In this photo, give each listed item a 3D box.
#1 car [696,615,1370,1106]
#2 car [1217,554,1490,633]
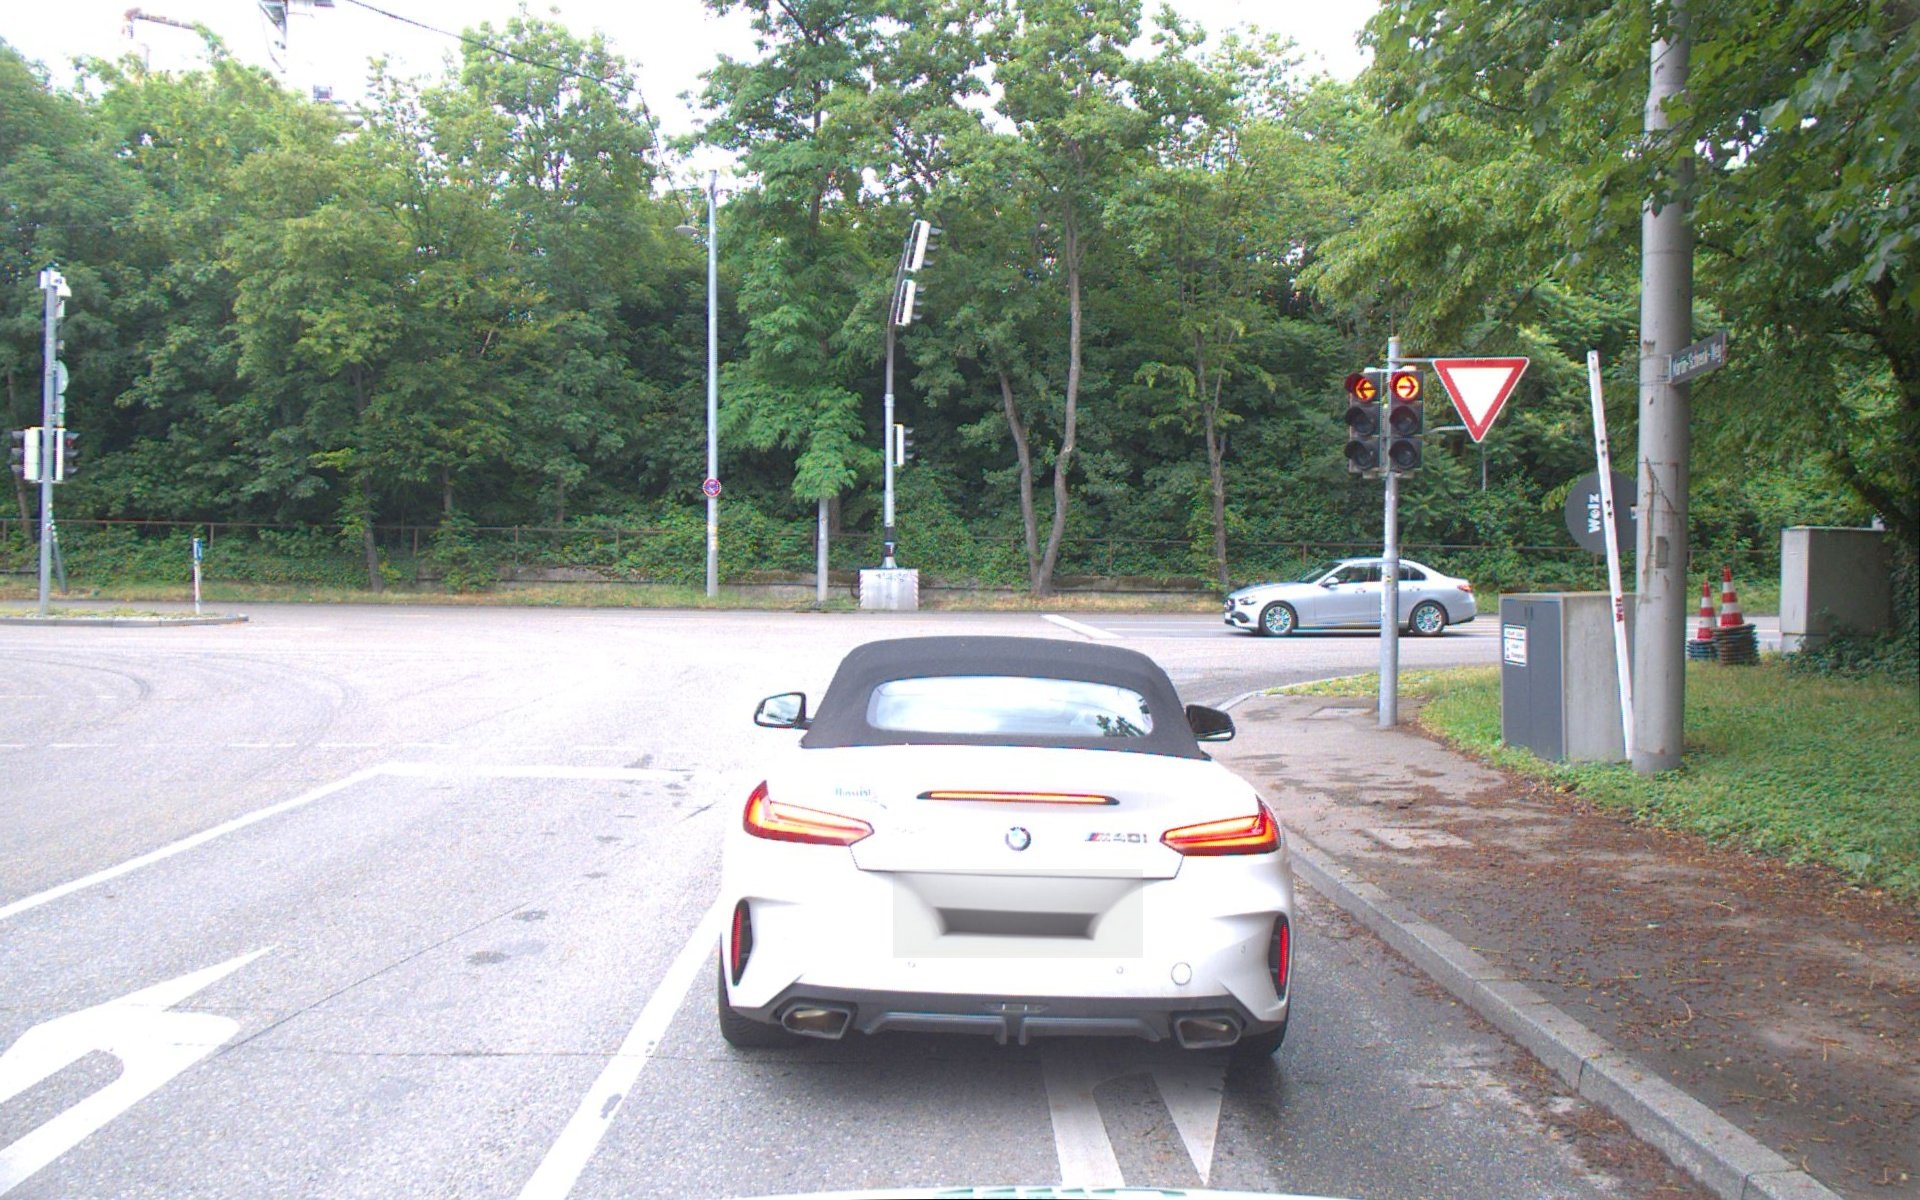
[{"bbox_3d":[0.112,0.748,6.454,1.791,1.279,3.997,2,-1,-3],"label":"car"},{"bbox_3d":[7.355,-0.137,31.191,4.657,1.356,1.833,1,3,-3],"label":"car"}]
